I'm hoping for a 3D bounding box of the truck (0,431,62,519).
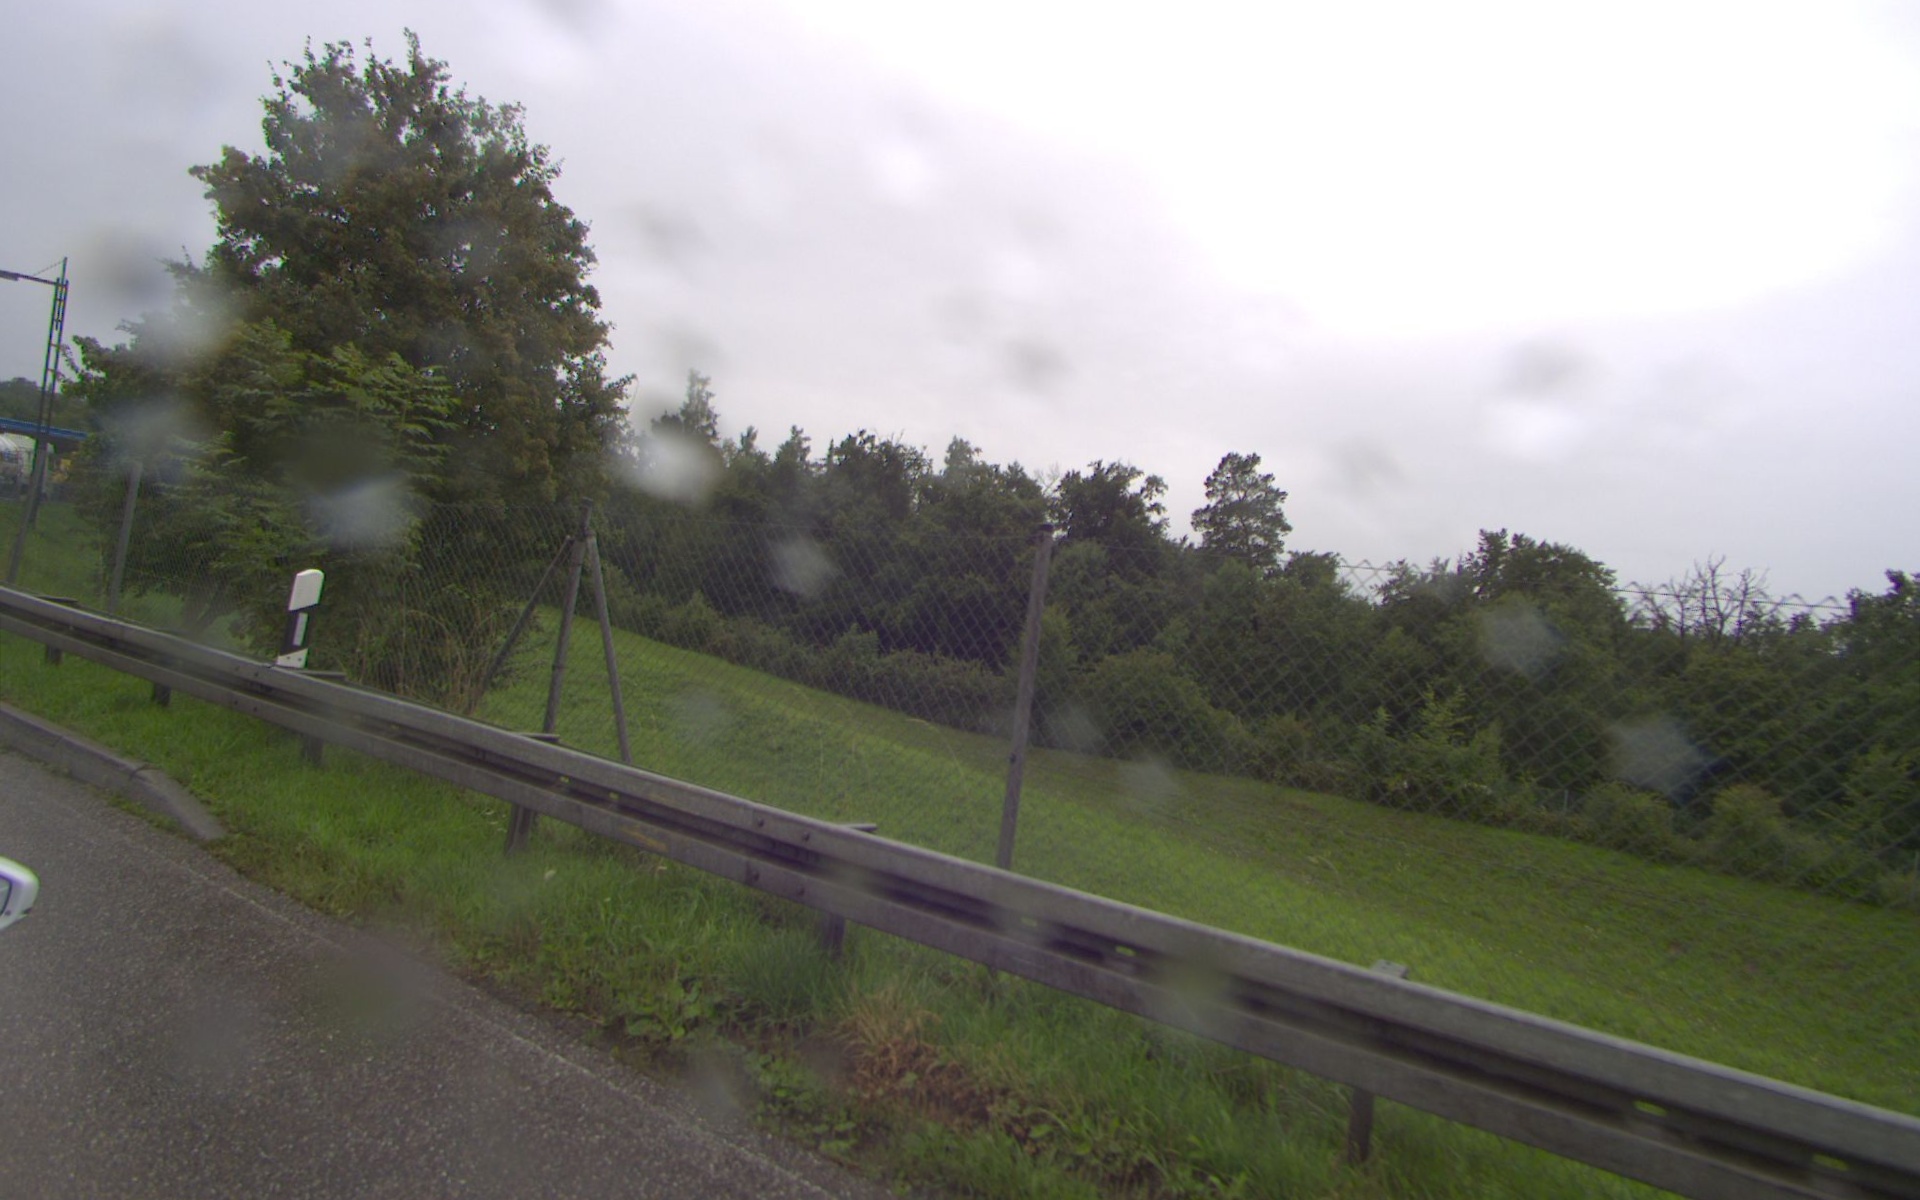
[{"bbox_3d":[-42.511,-5.605,45.028,2.130,3.555,4.611,7,0,-29],"label":"truck"}]

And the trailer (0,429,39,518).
[{"bbox_3d":[-39.523,-5.239,39.636,2.115,3.482,10.175,7,0,-29],"label":"trailer"}]

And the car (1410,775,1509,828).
[{"bbox_3d":[23.515,9.478,47.377,3.934,1.617,1.776,7,-6,32],"label":"car"}]

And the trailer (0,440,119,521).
[{"bbox_3d":[-47.514,-6.159,53.185,2.161,3.433,7.524,8,0,-22],"label":"trailer"}]

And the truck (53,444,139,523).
[{"bbox_3d":[-49.088,-6.558,57.254,2.159,3.875,4.120,7,0,-22],"label":"truck"}]
